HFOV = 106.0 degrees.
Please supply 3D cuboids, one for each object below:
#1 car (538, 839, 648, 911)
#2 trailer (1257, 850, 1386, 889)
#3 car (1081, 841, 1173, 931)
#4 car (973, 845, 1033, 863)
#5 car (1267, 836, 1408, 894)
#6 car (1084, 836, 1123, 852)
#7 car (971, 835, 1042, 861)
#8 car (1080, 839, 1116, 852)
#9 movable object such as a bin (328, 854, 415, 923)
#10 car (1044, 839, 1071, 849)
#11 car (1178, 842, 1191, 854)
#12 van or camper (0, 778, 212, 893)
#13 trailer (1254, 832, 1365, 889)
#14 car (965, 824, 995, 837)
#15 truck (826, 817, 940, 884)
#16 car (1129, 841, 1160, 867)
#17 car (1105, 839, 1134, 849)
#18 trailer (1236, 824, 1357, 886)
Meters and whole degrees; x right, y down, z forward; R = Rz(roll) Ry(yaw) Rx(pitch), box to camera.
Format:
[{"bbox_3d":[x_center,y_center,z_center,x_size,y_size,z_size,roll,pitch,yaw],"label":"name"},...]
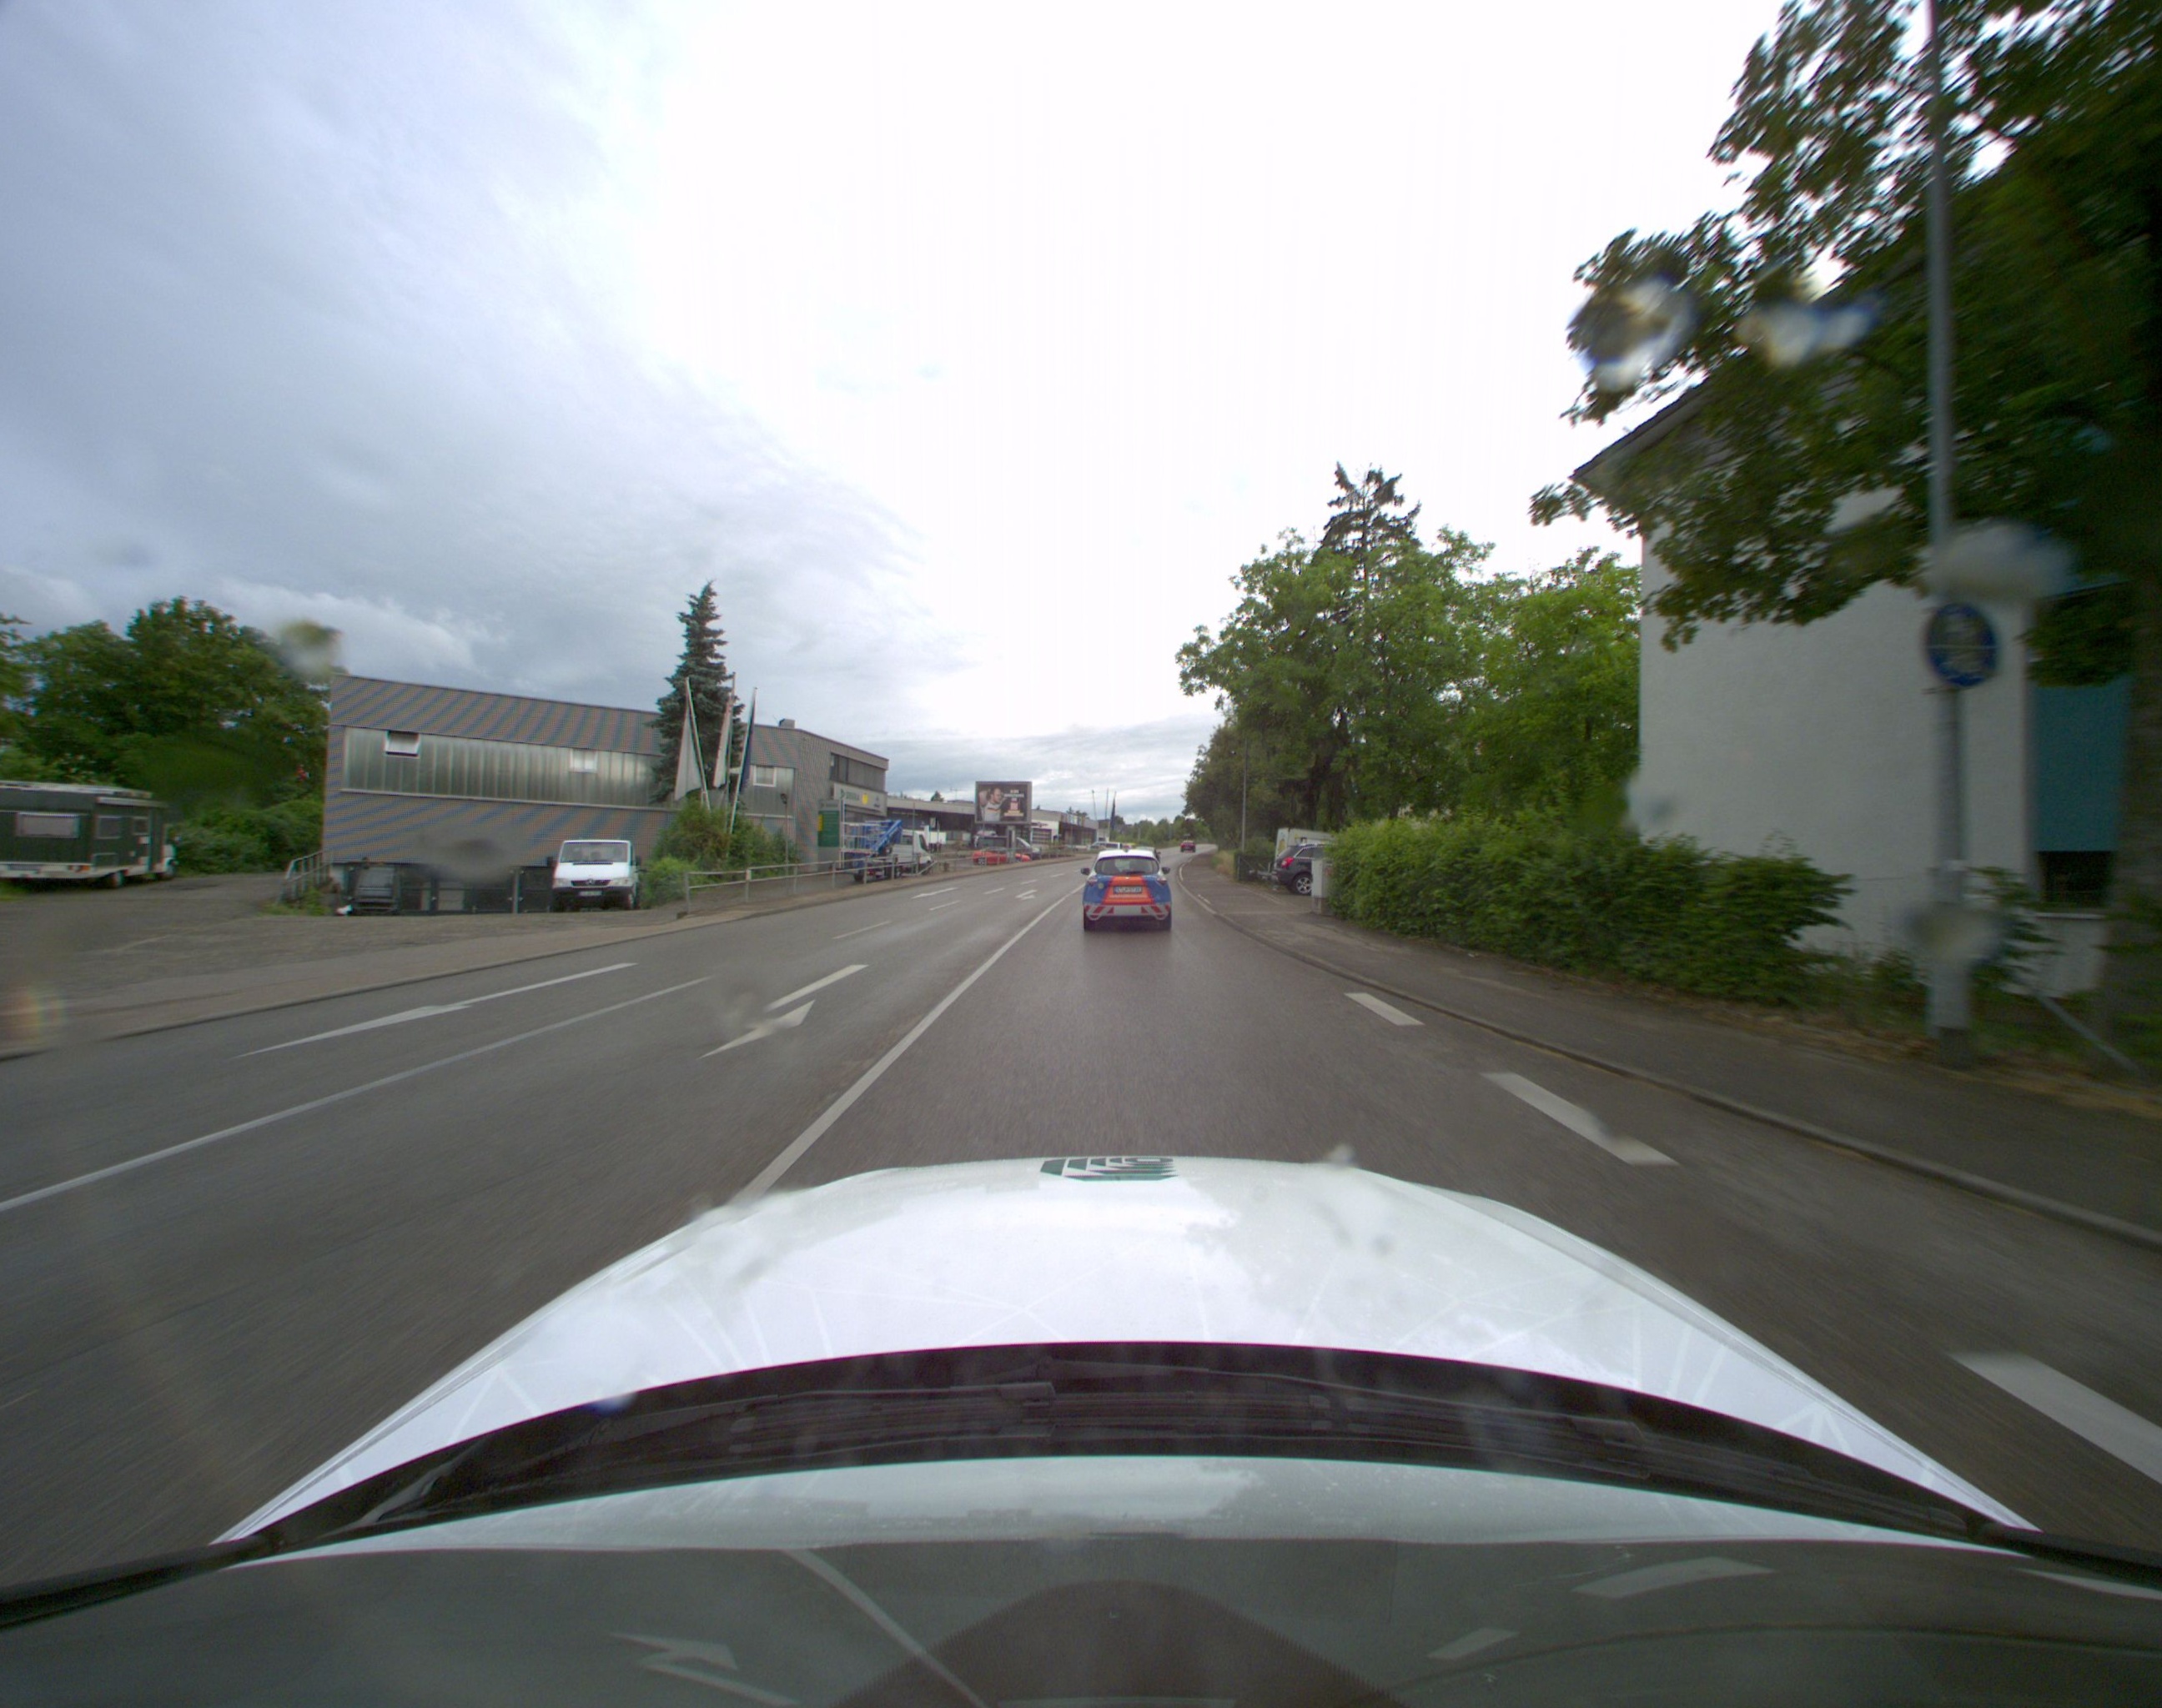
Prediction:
[{"bbox_3d":[-14.039,0.516,23.694,2.065,1.871,4.251,1,1,-22],"label":"car"},{"bbox_3d":[8.922,0.553,30.467,4.379,1.288,1.573,1,2,3],"label":"trailer"},{"bbox_3d":[0.866,0.579,16.804,1.652,1.593,3.568,2,0,0],"label":"car"},{"bbox_3d":[-5.529,-0.006,58.208,4.080,1.267,1.769,1,1,-2],"label":"car"},{"bbox_3d":[8.530,0.335,27.391,4.193,1.749,1.987,1,2,5],"label":"car"},{"bbox_3d":[2.768,-1.248,99.495,4.385,1.797,1.940,1,1,10],"label":"car"},{"bbox_3d":[-5.547,-0.485,61.164,5.046,1.870,1.824,1,1,2],"label":"car"},{"bbox_3d":[2.022,-1.011,97.076,3.984,1.478,1.829,1,1,10],"label":"car"},{"bbox_3d":[-23.497,1.062,27.093,1.670,2.013,3.958,0,1,-34],"label":"movable object such as a bin"},{"bbox_3d":[-3.590,-1.574,124.039,1.965,1.416,3.973,-1,2,-45],"label":"car"},{"bbox_3d":[13.423,-0.785,105.363,1.604,1.407,3.507,0,1,9],"label":"car"},{"bbox_3d":[-29.902,-0.640,24.876,2.485,2.895,8.037,5,-1,-33],"label":"van or camper"},{"bbox_3d":[9.024,0.238,32.440,3.936,2.021,1.688,2,1,3],"label":"trailer"},{"bbox_3d":[-11.860,-2.727,95.940,1.803,1.478,4.043,1,2,20],"label":"car"},{"bbox_3d":[-8.401,-0.284,35.674,1.982,2.632,7.913,0,2,8],"label":"truck"},{"bbox_3d":[4.174,-0.015,53.012,1.792,1.590,3.571,0,1,7],"label":"car"},{"bbox_3d":[5.586,-1.431,117.896,4.039,1.290,1.809,1,1,8],"label":"car"},{"bbox_3d":[9.056,0.039,34.452,4.525,2.400,1.947,2,1,-4],"label":"trailer"}]
